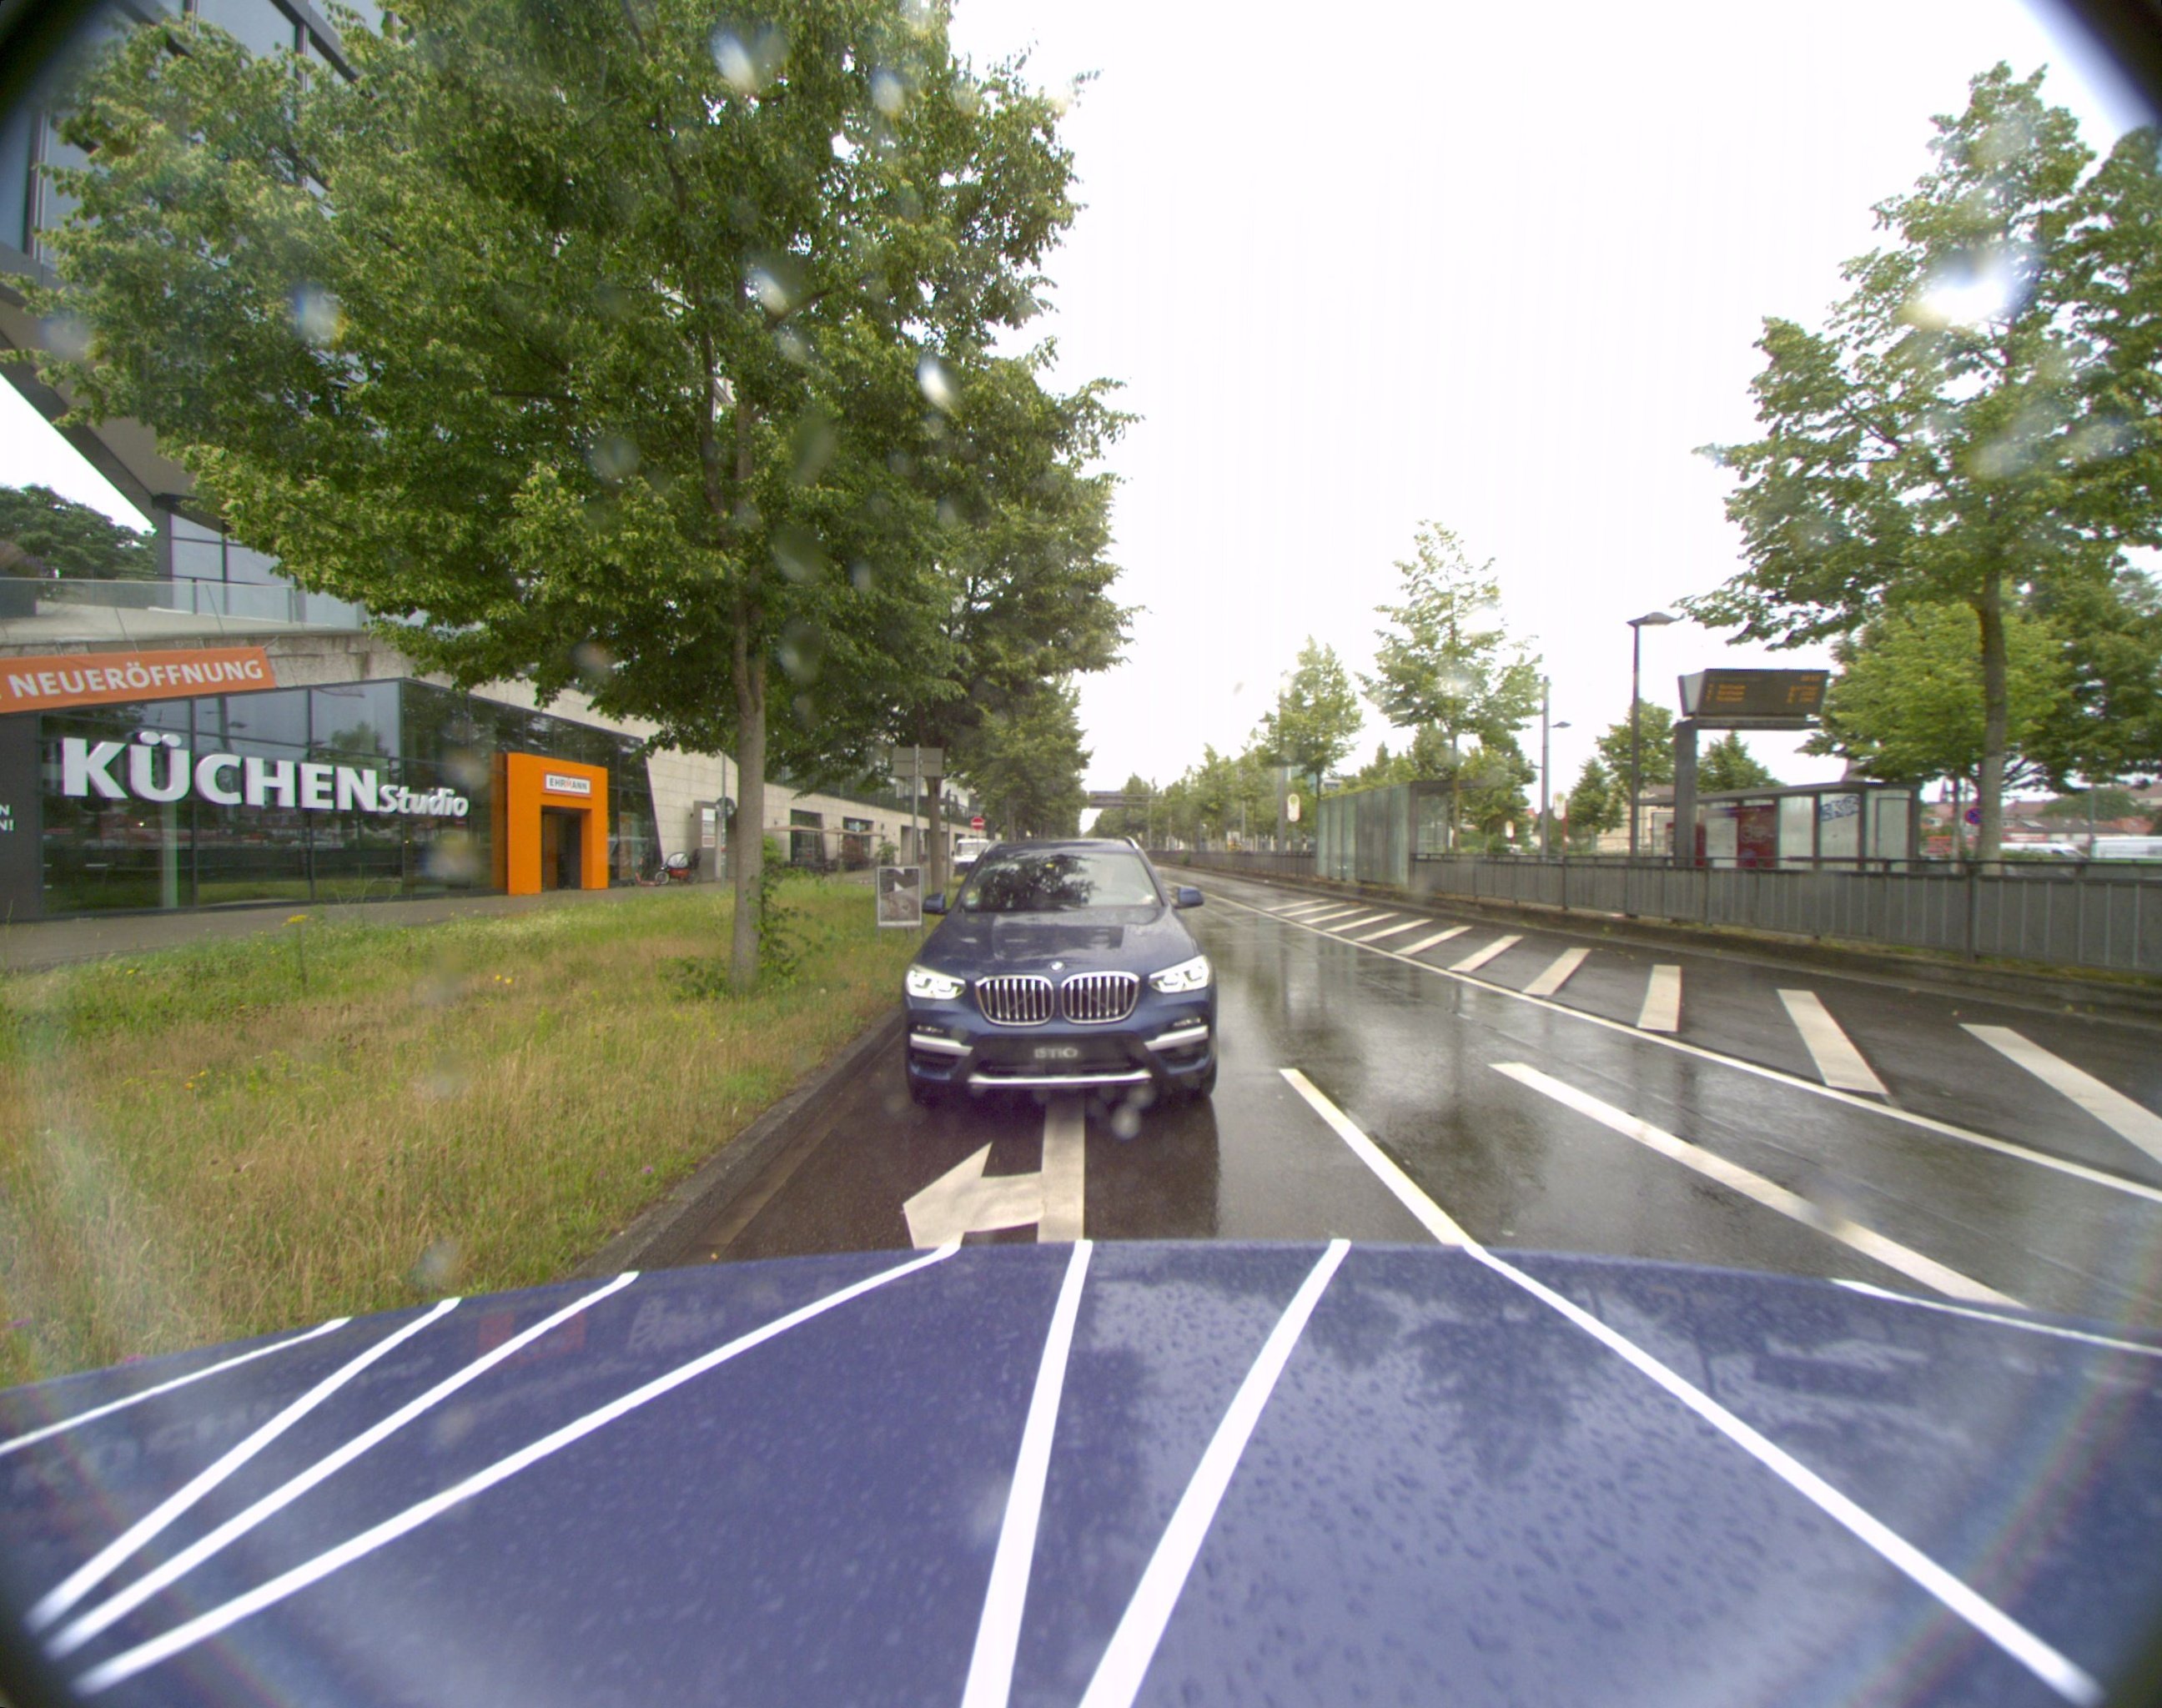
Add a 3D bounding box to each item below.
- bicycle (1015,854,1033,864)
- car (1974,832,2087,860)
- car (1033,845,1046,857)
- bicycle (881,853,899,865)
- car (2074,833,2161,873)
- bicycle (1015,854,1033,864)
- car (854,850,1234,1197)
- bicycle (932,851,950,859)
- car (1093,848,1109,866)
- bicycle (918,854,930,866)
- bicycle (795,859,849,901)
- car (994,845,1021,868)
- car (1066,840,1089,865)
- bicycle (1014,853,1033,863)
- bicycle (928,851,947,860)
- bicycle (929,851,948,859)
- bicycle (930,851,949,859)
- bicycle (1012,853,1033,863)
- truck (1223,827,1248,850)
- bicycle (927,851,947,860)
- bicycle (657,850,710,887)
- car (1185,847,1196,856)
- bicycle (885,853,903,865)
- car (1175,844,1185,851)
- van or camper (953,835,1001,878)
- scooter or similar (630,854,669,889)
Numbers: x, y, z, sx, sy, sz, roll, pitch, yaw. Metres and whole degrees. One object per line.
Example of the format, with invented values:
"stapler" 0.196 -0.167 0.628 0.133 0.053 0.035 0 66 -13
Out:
"bicycle" -5.504 0.497 73.080 1.699 0.940 0.395 -2 2 -4
"car" 84.239 -0.734 67.564 2.000 2.293 6.138 -3 1 -9
"car" -6.040 -0.456 111.475 1.659 1.711 3.999 -2 1 0
"bicycle" -15.408 0.395 61.344 0.396 0.940 2.024 -4 2 -45
"car" 70.065 -0.087 49.392 1.999 2.448 6.744 -2 1 -4
"bicycle" -5.527 0.466 73.652 1.649 0.940 0.395 -2 2 -4
"car" -0.150 0.835 5.756 1.816 1.603 3.999 -2 1 1
"bicycle" -15.993 0.098 86.653 2.029 0.940 0.395 1 1 -4
"car" 2.791 0.397 106.240 1.998 2.232 3.999 -2 1 1
"bicycle" -13.155 0.476 63.753 0.402 0.940 1.859 -1 1 8
"bicycle" -8.616 0.863 25.272 1.843 1.338 0.533 -1 0 26
"car" -5.949 0.162 62.269 1.746 1.749 4.847 -1 1 0
"car" -0.259 -0.177 71.365 1.998 2.232 3.999 -2 1 1
"bicycle" -5.711 0.421 75.482 1.882 0.940 0.395 -2 2 -4
"bicycle" -15.852 0.135 84.147 2.029 0.940 0.395 1 1 -4
"bicycle" -15.917 0.126 84.826 2.029 0.940 0.395 1 1 -4
"bicycle" -15.939 0.107 85.404 2.029 0.940 0.395 1 1 -4
"bicycle" -5.852 0.409 76.405 2.040 0.940 0.395 -2 2 -4
"truck" 25.723 -2.598 127.150 2.693 3.756 9.182 -2 1 3
"bicycle" -15.828 0.141 83.562 2.029 0.940 0.395 1 1 -4
"bicycle" -15.414 0.539 29.528 0.734 1.394 2.425 1 0 1
"car" 22.813 -0.517 158.752 1.761 2.002 4.000 0 1 1
"bicycle" -15.331 0.377 62.134 0.396 0.940 2.024 -4 2 -45
"car" 26.640 -1.744 204.957 1.999 1.736 3.998 -2 1 -2
"van or camper" -5.849 0.099 43.355 2.030 2.279 5.458 -1 1 0
"scooter or similar" -15.709 0.620 27.673 0.342 1.221 1.242 -2 2 19
